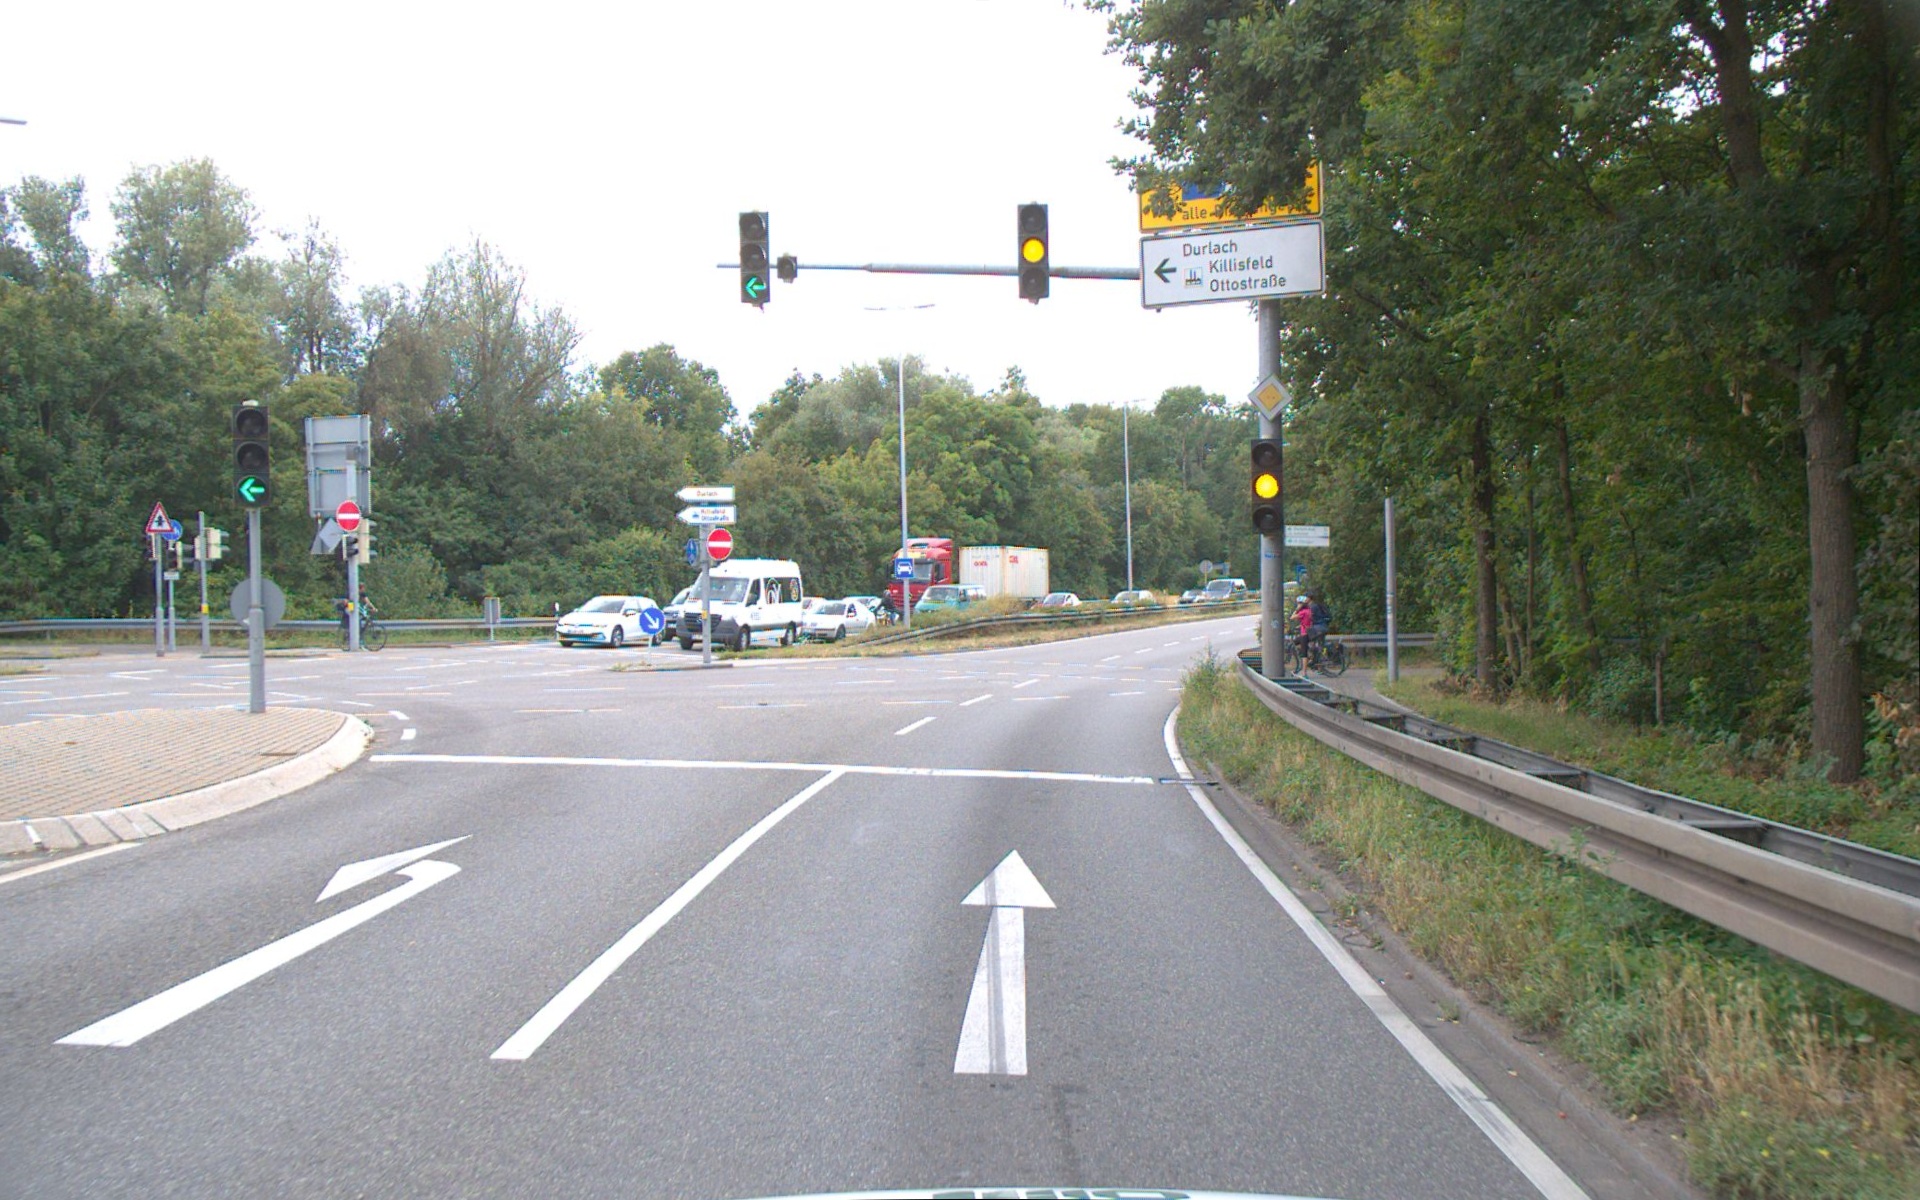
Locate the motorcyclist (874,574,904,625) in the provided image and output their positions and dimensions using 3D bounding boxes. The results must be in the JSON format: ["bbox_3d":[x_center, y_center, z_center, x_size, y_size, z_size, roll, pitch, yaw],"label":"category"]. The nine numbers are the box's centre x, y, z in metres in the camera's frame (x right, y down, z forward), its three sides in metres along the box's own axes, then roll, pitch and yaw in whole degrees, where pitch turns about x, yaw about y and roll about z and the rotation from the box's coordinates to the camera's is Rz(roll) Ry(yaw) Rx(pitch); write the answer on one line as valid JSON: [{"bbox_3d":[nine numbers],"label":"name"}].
[{"bbox_3d":[-2.583,-0.026,60.301,0.847,1.855,0.926,0,0,17],"label":"motorcyclist"}]

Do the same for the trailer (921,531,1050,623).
[{"bbox_3d":[1.421,-1.059,80.969,2.483,4.220,10.768,0,0,23],"label":"trailer"}]

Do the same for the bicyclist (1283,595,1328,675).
[{"bbox_3d":[7.638,0.773,36.580,0.834,1.762,0.636,-1,-1,26],"label":"bicyclist"}]

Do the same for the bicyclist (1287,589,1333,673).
[{"bbox_3d":[8.026,0.716,37.977,0.928,1.876,0.665,-2,-1,9],"label":"bicyclist"}]

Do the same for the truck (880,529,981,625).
[{"bbox_3d":[-1.266,-1.004,74.631,2.516,4.155,5.621,0,0,23],"label":"truck"}]

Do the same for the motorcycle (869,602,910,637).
[{"bbox_3d":[-2.552,0.710,60.195,0.782,1.246,2.328,0,0,16],"label":"motorcycle"}]

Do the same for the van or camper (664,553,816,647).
[{"bbox_3d":[-6.514,-0.001,49.947,2.114,2.634,6.500,0,0,16],"label":"van or camper"}]

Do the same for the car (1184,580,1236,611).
[{"bbox_3d":[15.633,-0.267,103.186,1.969,1.896,5.276,0,0,23],"label":"car"}]

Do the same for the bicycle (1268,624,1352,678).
[{"bbox_3d":[7.727,1.119,36.538,1.707,1.158,0.630,-1,-1,26],"label":"bicycle"}]

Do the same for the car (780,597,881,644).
[{"bbox_3d":[-4.353,0.657,56.349,1.951,1.524,4.402,0,0,17],"label":"car"}]

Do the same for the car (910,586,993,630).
[{"bbox_3d":[-0.301,0.318,68.546,1.767,1.759,4.961,0,0,20],"label":"car"}]

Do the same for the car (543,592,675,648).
[{"bbox_3d":[-10.257,0.559,48.672,1.951,1.574,4.542,0,0,15],"label":"car"}]

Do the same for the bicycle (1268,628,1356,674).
[{"bbox_3d":[8.066,1.169,37.952,1.929,0.957,0.662,-2,-1,9],"label":"bicycle"}]

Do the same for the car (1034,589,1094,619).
[{"bbox_3d":[5.182,0.201,82.054,1.767,1.457,4.125,0,0,22],"label":"car"}]

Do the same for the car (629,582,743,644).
[{"bbox_3d":[-8.886,0.399,53.982,1.952,1.935,4.168,0,0,19],"label":"car"}]

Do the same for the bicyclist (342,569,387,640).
[{"bbox_3d":[-15.196,0.121,42.222,0.728,1.765,0.800,-1,-1,23],"label":"bicyclist"}]

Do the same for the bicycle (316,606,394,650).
[{"bbox_3d":[-15.461,0.715,42.269,1.899,1.071,0.708,-2,-1,23],"label":"bicycle"}]
